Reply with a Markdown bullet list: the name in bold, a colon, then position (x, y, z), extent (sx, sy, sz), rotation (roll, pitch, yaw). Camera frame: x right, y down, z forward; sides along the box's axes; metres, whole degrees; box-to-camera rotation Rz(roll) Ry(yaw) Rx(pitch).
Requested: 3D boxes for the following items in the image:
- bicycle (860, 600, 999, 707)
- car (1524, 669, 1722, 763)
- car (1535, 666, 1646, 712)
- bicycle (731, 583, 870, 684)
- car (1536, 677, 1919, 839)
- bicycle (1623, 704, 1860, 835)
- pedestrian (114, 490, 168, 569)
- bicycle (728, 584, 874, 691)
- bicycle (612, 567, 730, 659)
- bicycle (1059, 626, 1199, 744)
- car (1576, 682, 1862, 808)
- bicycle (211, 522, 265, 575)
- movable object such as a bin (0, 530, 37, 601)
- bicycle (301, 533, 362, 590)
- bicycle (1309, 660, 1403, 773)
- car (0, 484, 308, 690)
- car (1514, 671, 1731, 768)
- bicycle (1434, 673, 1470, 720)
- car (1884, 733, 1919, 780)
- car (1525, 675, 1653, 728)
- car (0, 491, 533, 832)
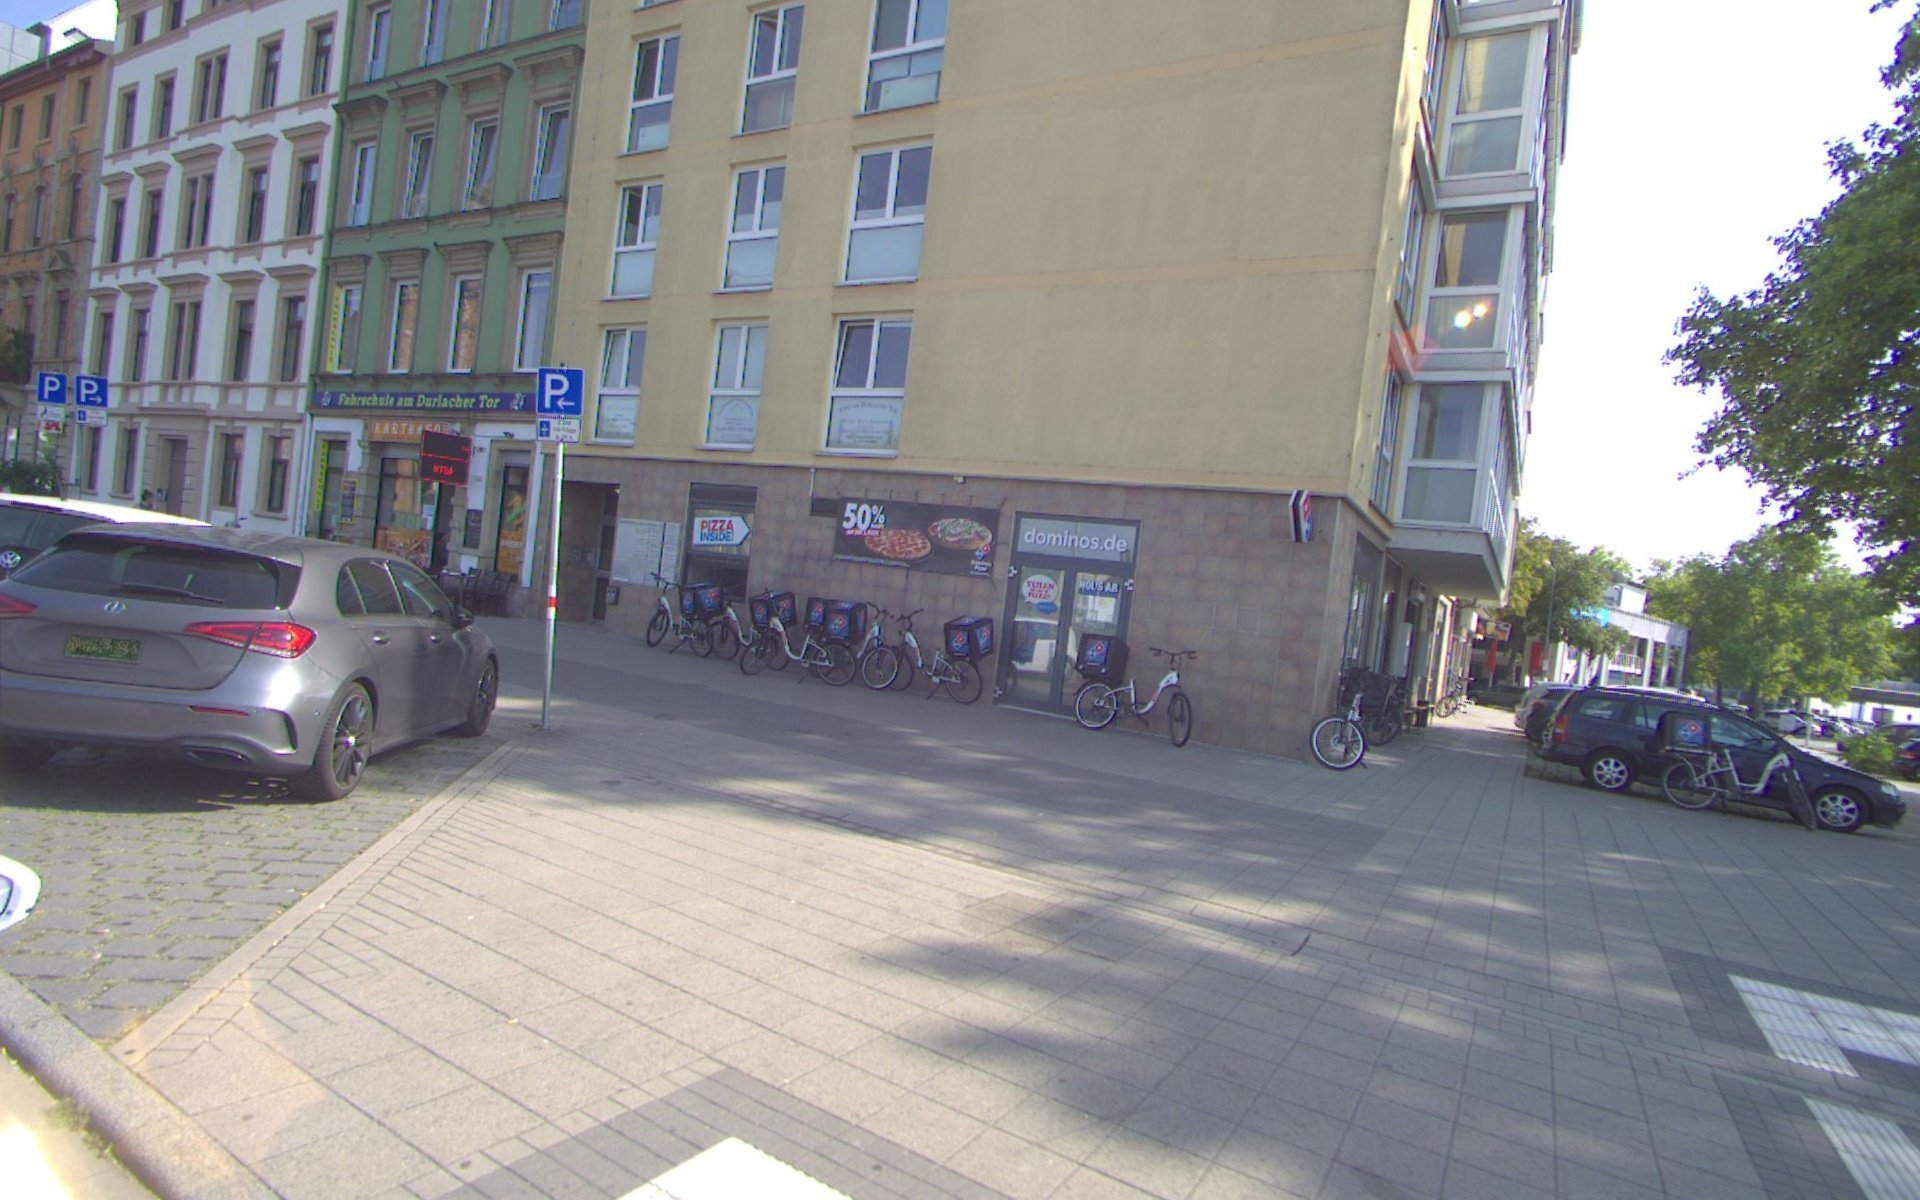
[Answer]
- **bicycle**: position (-0.448, 0.746, 14.440), extent (1.817, 1.277, 0.603), rotation (7, 1, 30)
- **car**: position (16.806, 2.884, 25.744), extent (3.934, 1.665, 1.995), rotation (7, 1, 32)
- **car**: position (27.822, 3.901, 44.553), extent (3.932, 1.393, 1.739), rotation (7, 1, 30)
- **bicycle**: position (-2.448, 0.501, 15.432), extent (1.961, 1.277, 0.604), rotation (7, 1, 23)
- **car**: position (10.833, 2.144, 14.583), extent (4.125, 1.459, 1.658), rotation (7, 1, 32)
- **bicycle**: position (10.139, 2.176, 13.164), extent (2.260, 1.250, 0.523), rotation (7, 1, 27)
- **pedestrian**: position (-18.218, -1.568, 22.391), extent (0.725, 1.650, 0.609), rotation (7, 1, 31)
- **bicycle**: position (-2.319, 0.535, 14.617), extent (1.961, 1.277, 0.604), rotation (7, 1, 23)
- **bicycle**: position (-4.831, 0.202, 16.765), extent (1.964, 1.277, 0.603), rotation (7, 1, 31)
- **bicycle**: position (2.200, 1.087, 13.159), extent (1.609, 1.277, 0.469), rotation (7, 1, 30)
- **car**: position (13.905, 2.591, 18.787), extent (3.934, 1.526, 1.995), rotation (7, 1, 32)
- **bicycle**: position (-17.898, -1.284, 24.916), extent (1.690, 1.148, 0.384), rotation (7, 1, 31)
- **movable object such as a bin**: position (-13.050, -0.483, 13.733), extent (0.528, 0.914, 0.490), rotation (7, 1, 33)
- **bicycle**: position (-14.469, -0.894, 23.135), extent (1.690, 1.148, 0.384), rotation (7, 1, 31)
- **bicycle**: position (5.004, 1.416, 12.623), extent (0.659, 1.221, 2.019), rotation (8, 1, 30)
- **car**: position (-7.742, -0.173, 9.234), extent (1.596, 1.482, 3.521), rotation (7, 0, -11)
- **car**: position (15.356, 2.720, 23.564), extent (3.934, 1.526, 1.995), rotation (7, 1, 32)
- **bicycle**: position (14.227, 2.756, 29.051), extent (0.659, 1.221, 2.019), rotation (8, 1, 30)
- **car**: position (34.073, 5.560, 33.821), extent (3.932, 1.393, 1.996), rotation (7, 0, 30)
- **car**: position (24.096, 3.859, 38.716), extent (3.932, 1.393, 1.996), rotation (7, 0, 30)
- **car**: position (-4.420, 0.249, 6.764), extent (1.817, 1.440, 4.400), rotation (7, 0, -11)
